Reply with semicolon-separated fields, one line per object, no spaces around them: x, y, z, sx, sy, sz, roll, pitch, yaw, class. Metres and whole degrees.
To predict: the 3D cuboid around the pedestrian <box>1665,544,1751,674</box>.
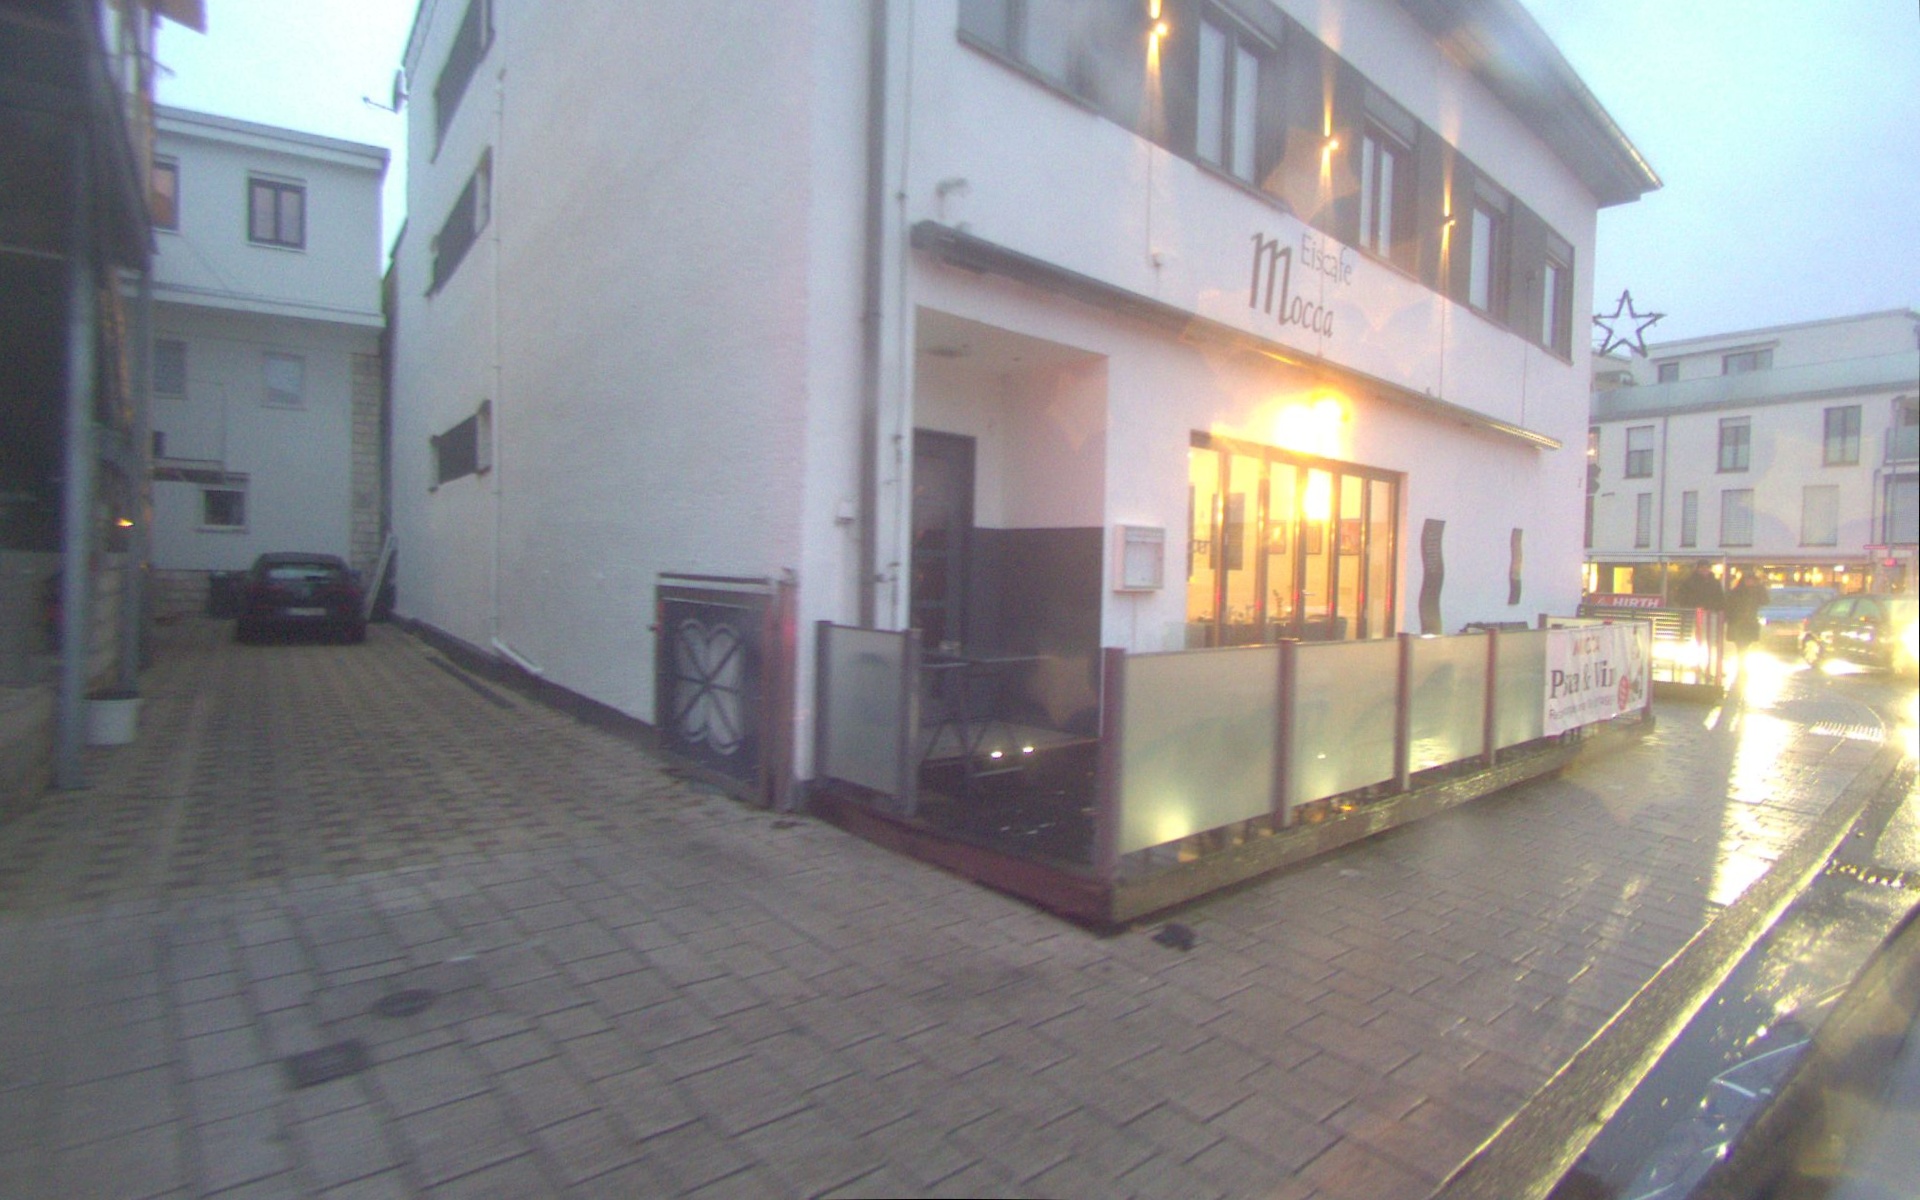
11.213;0.128;15.193;0.697;1.889;0.791;-1;1;3;pedestrian

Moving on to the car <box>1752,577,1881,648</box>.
21.090;0.231;24.861;4.485;1.497;2.023;-3;2;-45;car

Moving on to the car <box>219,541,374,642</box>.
-11.475;-0.198;17.396;1.901;1.433;3.962;3;2;-37;car

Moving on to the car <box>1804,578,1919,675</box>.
16.423;0.397;17.200;1.740;1.498;3.999;0;1;17;car

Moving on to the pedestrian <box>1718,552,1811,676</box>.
11.956;0.197;15.066;0.754;1.783;0.791;-1;1;3;pedestrian
